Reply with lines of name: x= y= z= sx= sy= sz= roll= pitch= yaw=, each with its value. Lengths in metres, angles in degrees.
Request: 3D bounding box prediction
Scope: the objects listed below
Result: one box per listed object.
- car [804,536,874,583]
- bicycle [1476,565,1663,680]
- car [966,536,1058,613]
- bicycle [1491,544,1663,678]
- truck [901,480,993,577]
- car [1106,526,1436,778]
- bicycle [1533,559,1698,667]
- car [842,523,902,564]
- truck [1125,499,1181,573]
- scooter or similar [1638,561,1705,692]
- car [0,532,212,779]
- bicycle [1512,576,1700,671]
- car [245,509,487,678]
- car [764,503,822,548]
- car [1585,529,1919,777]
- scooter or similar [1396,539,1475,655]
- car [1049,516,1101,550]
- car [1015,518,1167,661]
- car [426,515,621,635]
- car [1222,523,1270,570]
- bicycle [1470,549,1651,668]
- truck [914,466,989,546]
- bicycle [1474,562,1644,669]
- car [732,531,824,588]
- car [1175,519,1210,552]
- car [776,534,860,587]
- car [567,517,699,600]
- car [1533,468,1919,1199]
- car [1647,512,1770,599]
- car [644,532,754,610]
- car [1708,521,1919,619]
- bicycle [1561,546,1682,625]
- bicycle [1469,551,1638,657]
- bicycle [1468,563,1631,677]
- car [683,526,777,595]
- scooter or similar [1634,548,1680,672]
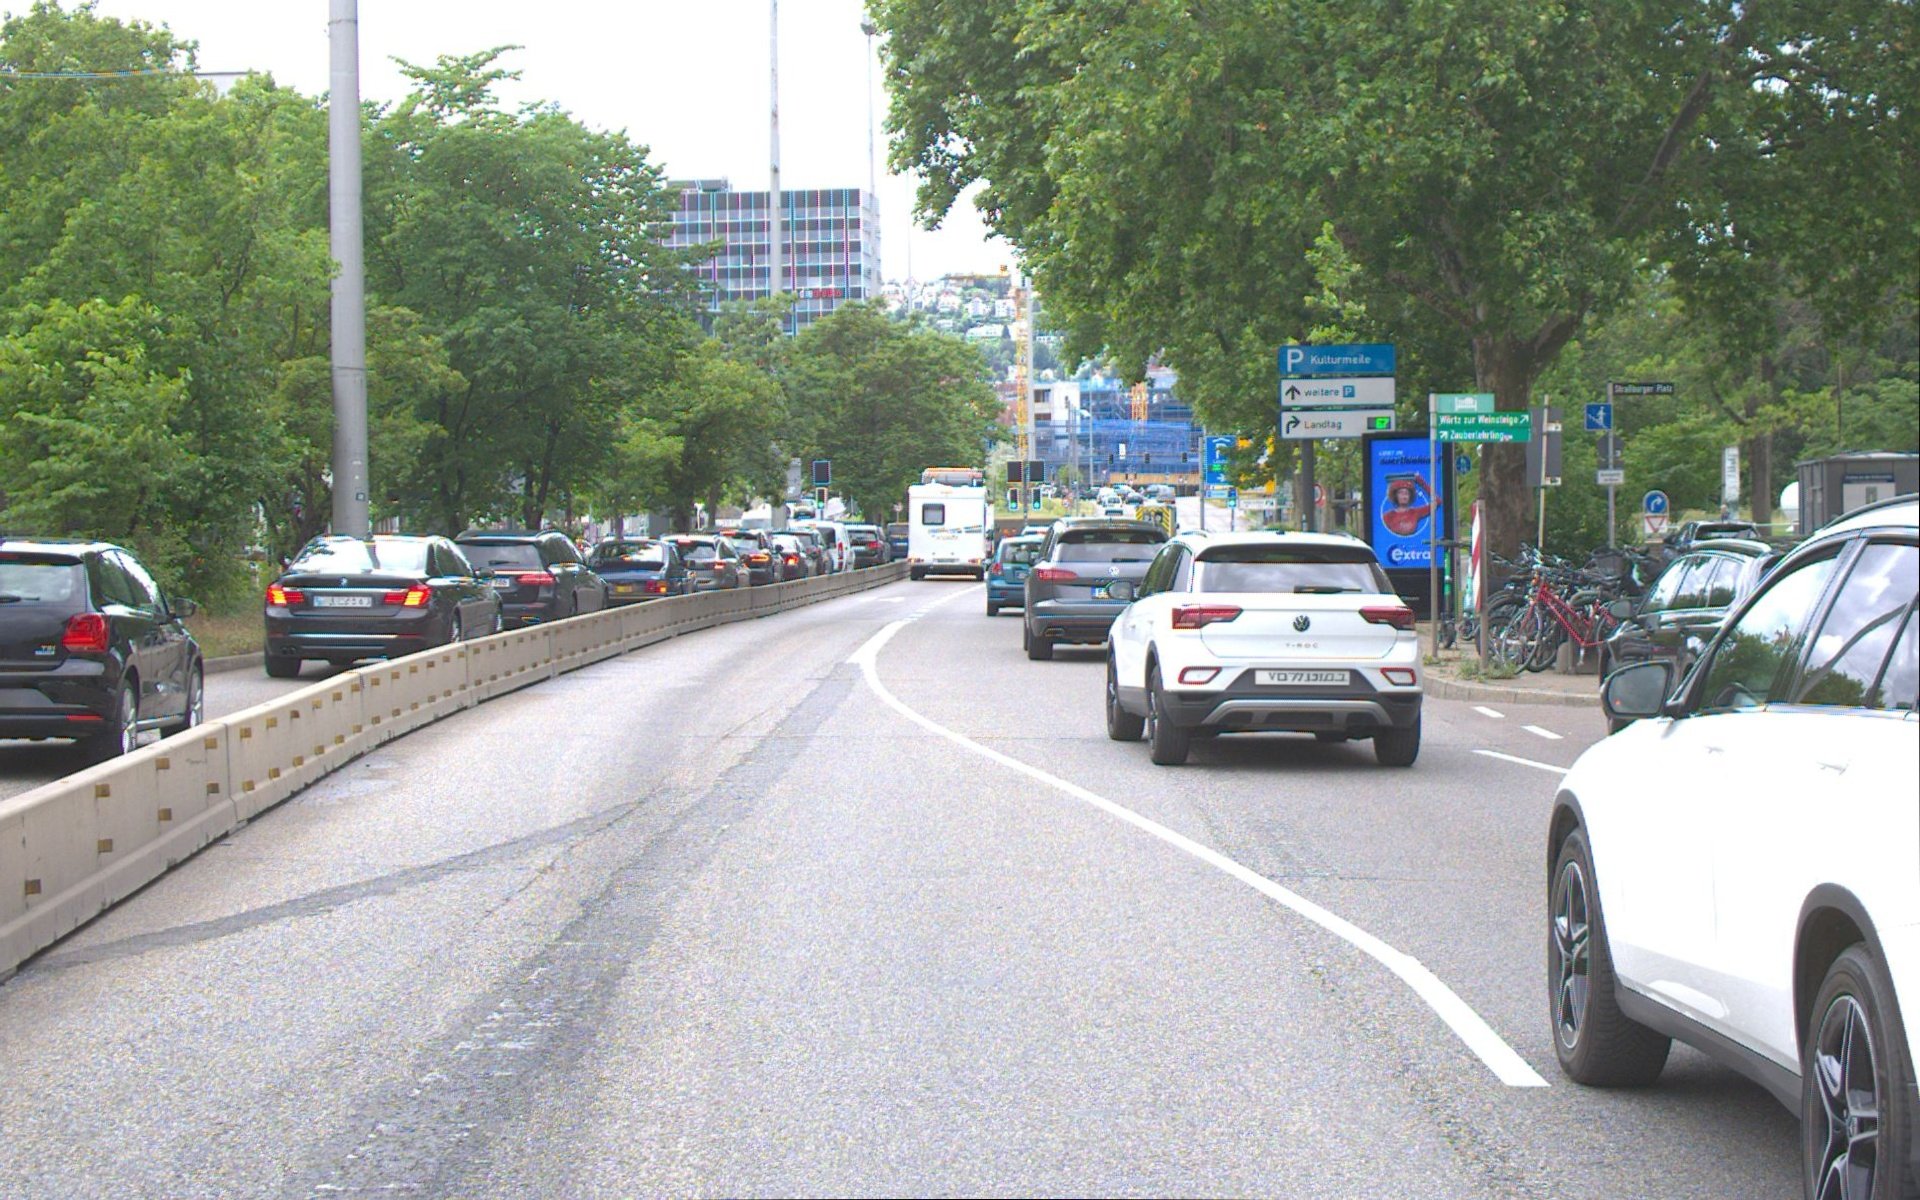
car: x=-3.411 y=-1.156 z=97.464 sx=1.659 sy=1.315 sz=3.547 roll=1 pitch=1 yaw=3
bicycle: x=5.828 y=0.207 z=32.885 sx=1.664 sy=1.070 sz=0.584 roll=1 pitch=1 yaw=22
car: x=1.007 y=-0.483 z=64.686 sx=1.659 sy=1.408 sz=3.547 roll=0 pitch=1 yaw=2
bicycle: x=5.980 y=0.101 z=33.311 sx=1.544 sy=1.252 sz=0.542 roll=1 pitch=1 yaw=21
truck: x=-0.352 y=-2.223 z=106.941 sx=2.621 sy=2.851 sz=7.078 roll=1 pitch=1 yaw=1
car: x=2.076 y=0.306 z=23.914 sx=1.795 sy=1.603 sz=3.755 roll=0 pitch=1 yaw=-2
bicycle: x=6.457 y=0.118 z=33.868 sx=1.564 sy=1.024 sz=0.435 roll=1 pitch=1 yaw=13
car: x=-2.879 y=-1.850 z=112.428 sx=1.659 sy=1.315 sz=3.547 roll=1 pitch=1 yaw=3
truck: x=10.906 y=-3.617 z=194.598 sx=2.877 sy=4.089 sz=6.638 roll=1 pitch=1 yaw=1
scooter or similar: x=7.154 y=0.256 z=34.610 sx=0.562 sy=1.274 sz=1.148 roll=1 pitch=1 yaw=8
car: x=-5.963 y=0.294 z=22.311 sx=1.659 sy=1.449 sz=4.199 roll=0 pitch=1 yaw=-5
bicycle: x=6.331 y=0.224 z=33.708 sx=1.730 sy=0.914 sz=0.613 roll=0 pitch=1 yaw=21
car: x=-6.103 y=-0.101 z=35.832 sx=1.923 sy=1.630 sz=4.937 roll=0 pitch=1 yaw=-3
car: x=-7.512 y=-3.342 z=154.775 sx=2.116 sy=1.962 sz=5.578 roll=-1 pitch=1 yaw=2
car: x=5.464 y=0.291 z=22.811 sx=1.788 sy=1.481 sz=4.326 roll=0 pitch=1 yaw=-1
scooter or similar: x=5.543 y=-0.043 z=40.102 sx=0.725 sy=1.327 sz=1.413 roll=1 pitch=1 yaw=1
car: x=4.572 y=-2.627 z=136.011 sx=1.947 sy=1.315 sz=4.016 roll=1 pitch=1 yaw=3
car: x=1.542 y=-0.144 z=41.452 sx=1.659 sy=1.633 sz=3.547 roll=0 pitch=1 yaw=0
car: x=-5.711 y=-0.351 z=45.494 sx=1.816 sy=1.494 sz=4.769 roll=0 pitch=1 yaw=2
car: x=12.420 y=-2.329 z=149.438 sx=1.994 sy=2.007 sz=4.000 roll=0 pitch=1 yaw=3
bicycle: x=6.249 y=0.085 z=35.831 sx=1.757 sy=1.205 sz=0.604 roll=1 pitch=1 yaw=-1
truck: x=-0.307 y=-3.665 z=134.966 sx=2.692 sy=2.981 sz=5.638 roll=2 pitch=1 yaw=1
bicycle: x=6.322 y=0.156 z=36.286 sx=1.729 sy=1.087 sz=0.574 roll=1 pitch=1 yaw=11
car: x=-4.270 y=-0.958 z=80.903 sx=1.659 sy=1.315 sz=3.547 roll=1 pitch=1 yaw=5
car: x=12.093 y=-3.357 z=179.021 sx=1.758 sy=1.663 sz=4.168 roll=0 pitch=1 yaw=3
car: x=-3.603 y=-1.011 z=87.761 sx=1.659 sy=1.315 sz=3.547 roll=1 pitch=1 yaw=5
car: x=-5.538 y=-0.726 z=58.637 sx=1.678 sy=1.362 sz=4.543 roll=0 pitch=1 yaw=2
car: x=2.615 y=0.551 z=7.914 sx=1.788 sy=1.619 sz=4.437 roll=0 pitch=1 yaw=-1
car: x=14.872 y=-0.910 z=68.484 sx=1.760 sy=1.546 sz=4.027 roll=0 pitch=3 yaw=3
car: x=-4.956 y=-0.561 z=65.623 sx=1.661 sy=1.431 sz=3.960 roll=0 pitch=1 yaw=2
car: x=14.277 y=-0.500 z=56.014 sx=3.836 sy=1.563 sz=1.679 roll=0 pitch=1 yaw=2
bicycle: x=10.155 y=-0.224 z=52.835 sx=1.785 sy=1.216 sz=0.492 roll=0 pitch=1 yaw=5
bicycle: x=6.333 y=0.039 z=36.676 sx=1.729 sy=1.087 sz=0.380 roll=1 pitch=1 yaw=15
bicycle: x=5.960 y=0.199 z=34.739 sx=1.609 sy=1.126 sz=0.470 roll=0 pitch=1 yaw=-24
car: x=-4.870 y=-0.866 z=73.164 sx=1.776 sy=1.415 sz=4.000 roll=0 pitch=1 yaw=-1
scooter or similar: x=7.058 y=0.097 z=34.792 sx=0.426 sy=1.220 sz=1.311 roll=1 pitch=0 yaw=12
